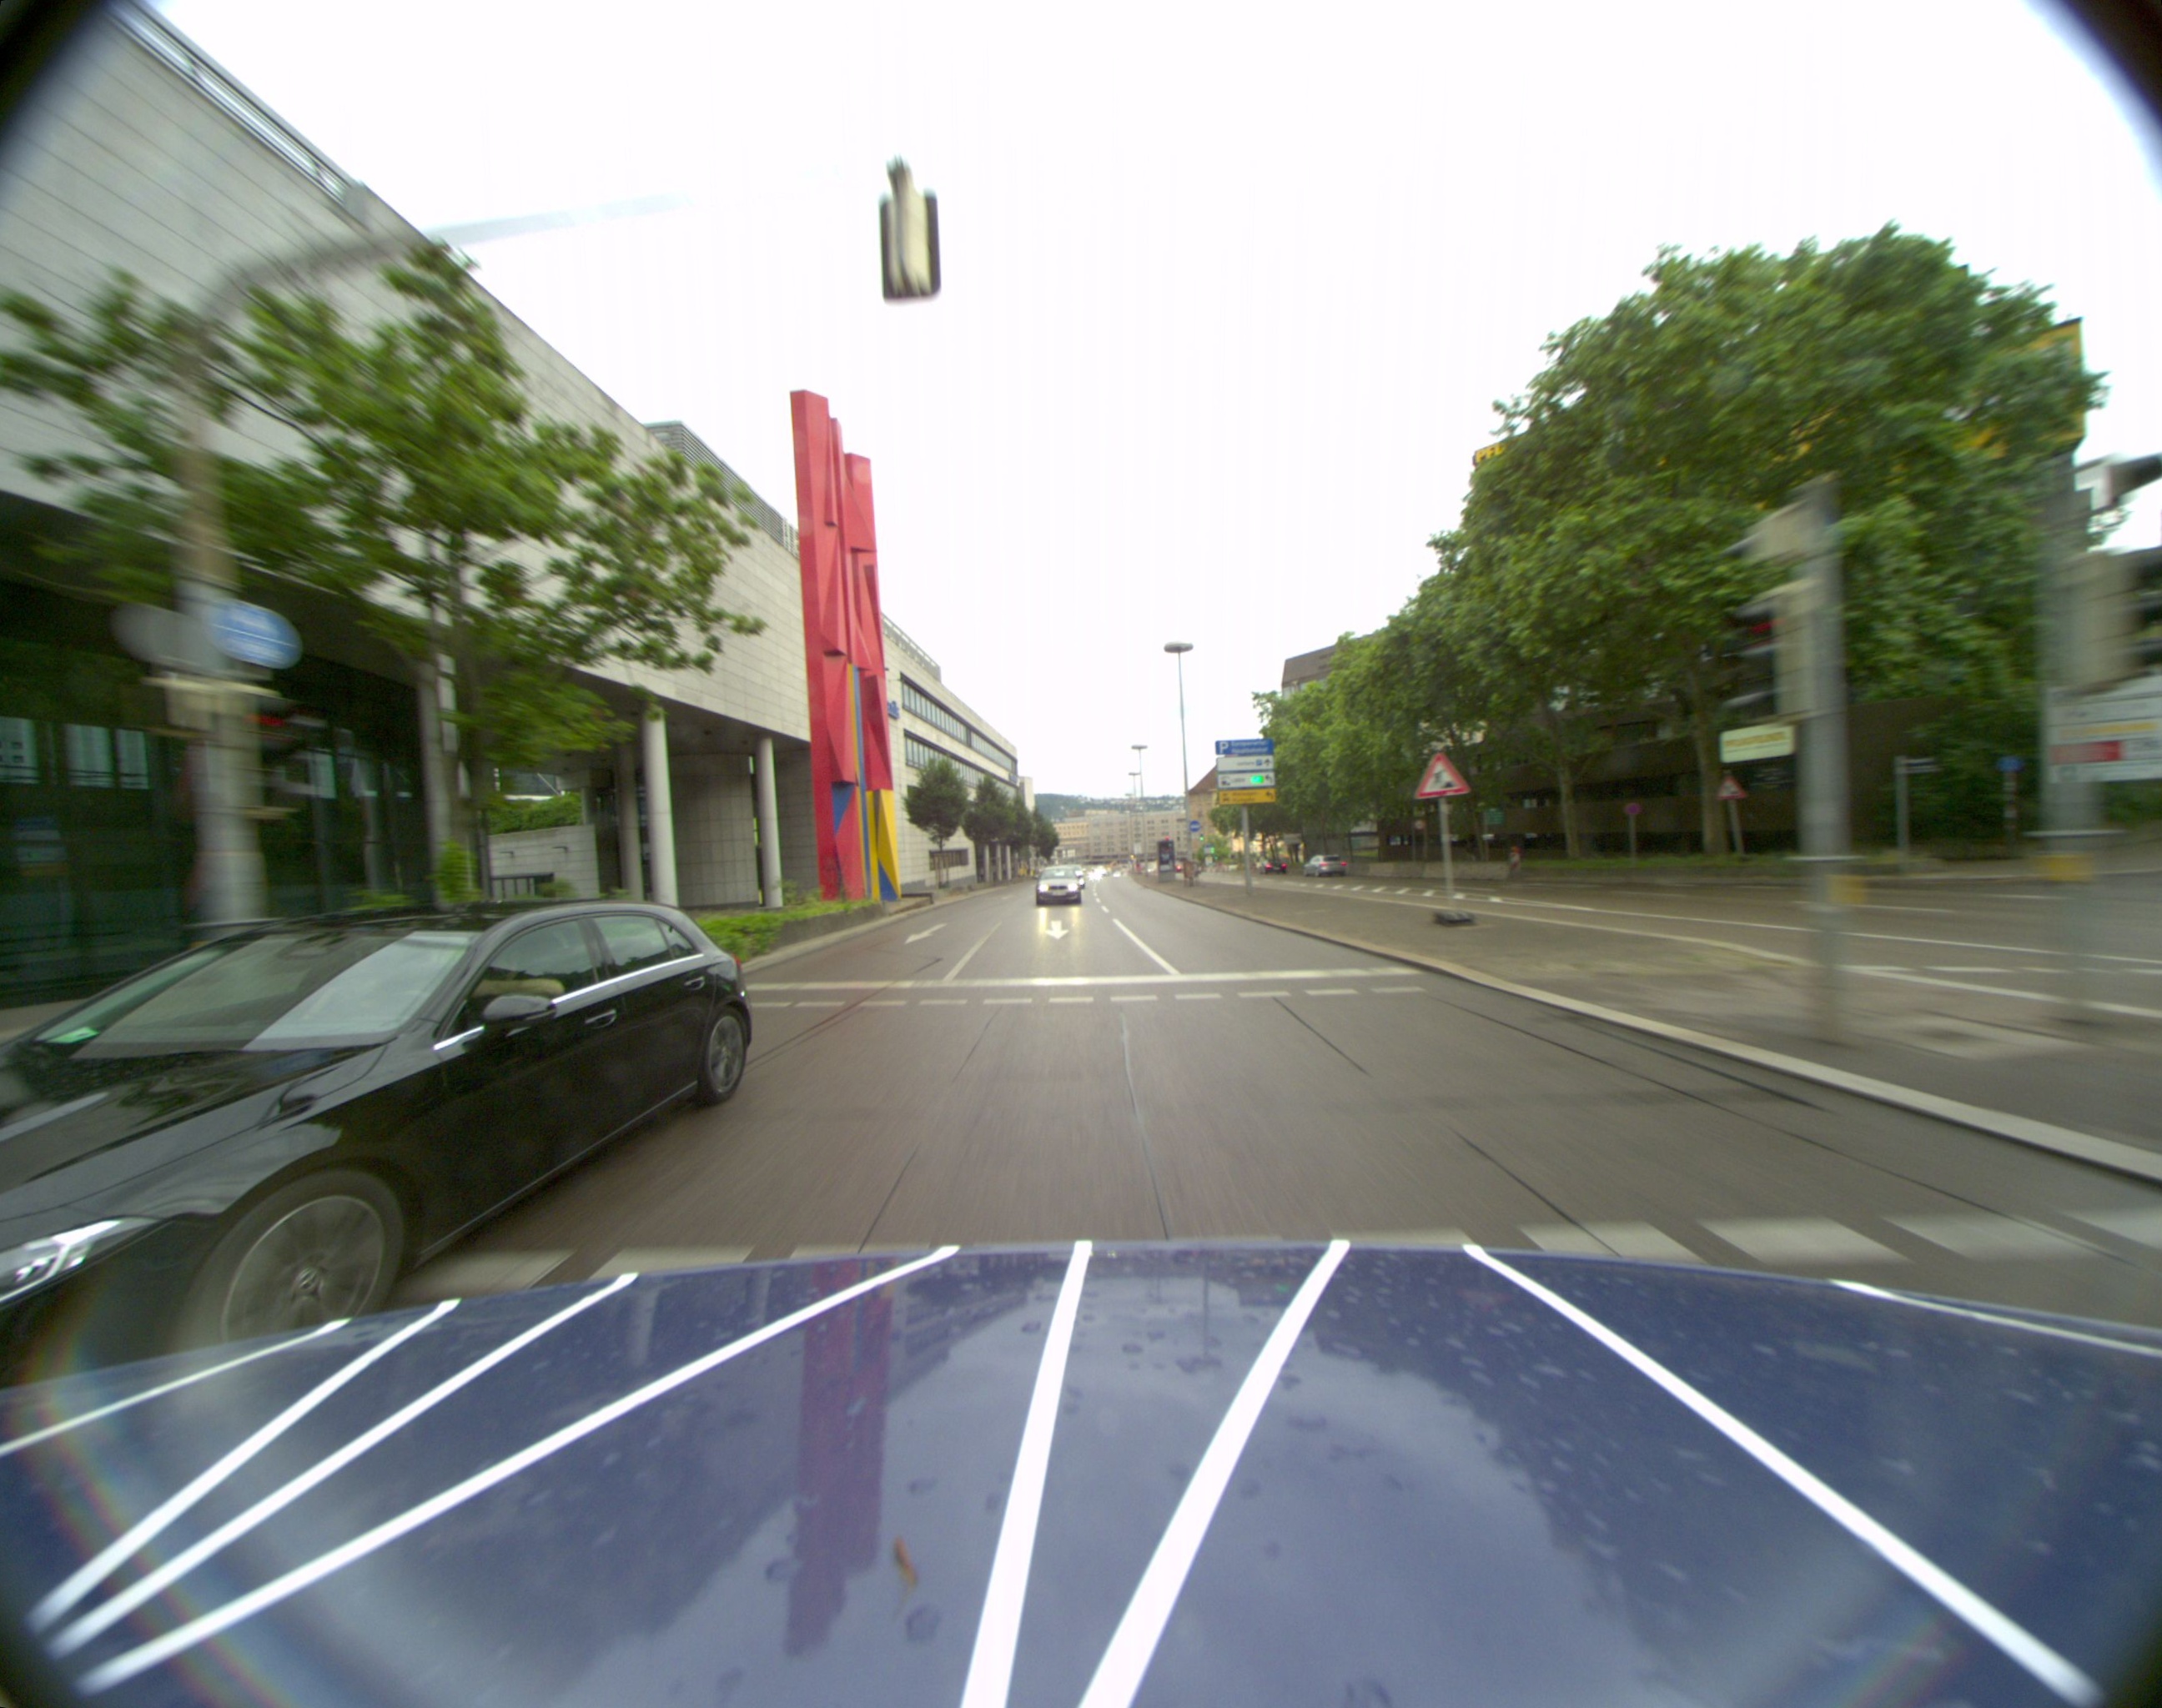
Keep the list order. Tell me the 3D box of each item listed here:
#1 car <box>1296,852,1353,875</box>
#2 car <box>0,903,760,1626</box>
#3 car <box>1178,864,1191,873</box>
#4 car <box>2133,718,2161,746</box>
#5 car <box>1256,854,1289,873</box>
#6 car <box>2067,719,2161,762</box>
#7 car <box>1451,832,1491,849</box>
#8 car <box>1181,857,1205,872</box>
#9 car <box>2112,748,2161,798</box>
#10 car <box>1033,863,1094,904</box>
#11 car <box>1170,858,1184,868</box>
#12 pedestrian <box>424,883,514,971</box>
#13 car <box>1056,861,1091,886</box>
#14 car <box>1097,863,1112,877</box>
[{"bbox_3d":[16.126,0.624,50.569,1.999,1.439,4.880,-2,0,-3],"label":"car"},{"bbox_3d":[-3.306,1.068,3.257,1.877,1.428,4.206,-2,-1,3],"label":"car"},{"bbox_3d":[18.323,2.539,134.610,1.938,1.428,4.078,-2,-1,5],"label":"car"},{"bbox_3d":[77.250,-8.790,54.232,4.005,1.806,1.995,-9,5,-44],"label":"car"},{"bbox_3d":[16.480,0.812,65.562,1.758,1.510,4.170,-2,0,0],"label":"car"},{"bbox_3d":[49.695,-5.402,35.638,1.823,1.675,3.989,-9,5,-44],"label":"car"},{"bbox_3d":[44.295,-1.557,86.290,3.990,1.706,2.004,-3,-1,28],"label":"car"},{"bbox_3d":[11.810,1.129,80.288,1.759,1.510,3.739,-2,0,-4],"label":"car"},{"bbox_3d":[39.611,-2.989,26.561,1.824,1.674,3.989,-4,1,-44],"label":"car"},{"bbox_3d":[-0.608,1.097,29.692,1.862,1.428,4.207,-2,0,6],"label":"car"},{"bbox_3d":[14.656,1.314,115.793,1.798,1.477,3.865,-3,0,3],"label":"car"},{"bbox_3d":[-11.650,1.374,14.494,0.972,1.577,0.842,-2,0,-1],"label":"pedestrian"},{"bbox_3d":[-0.430,1.179,47.121,1.863,1.449,4.207,-1,-1,3],"label":"car"},{"bbox_3d":[3.637,2.411,116.384,1.998,2.002,4.002,-2,0,5],"label":"car"}]
